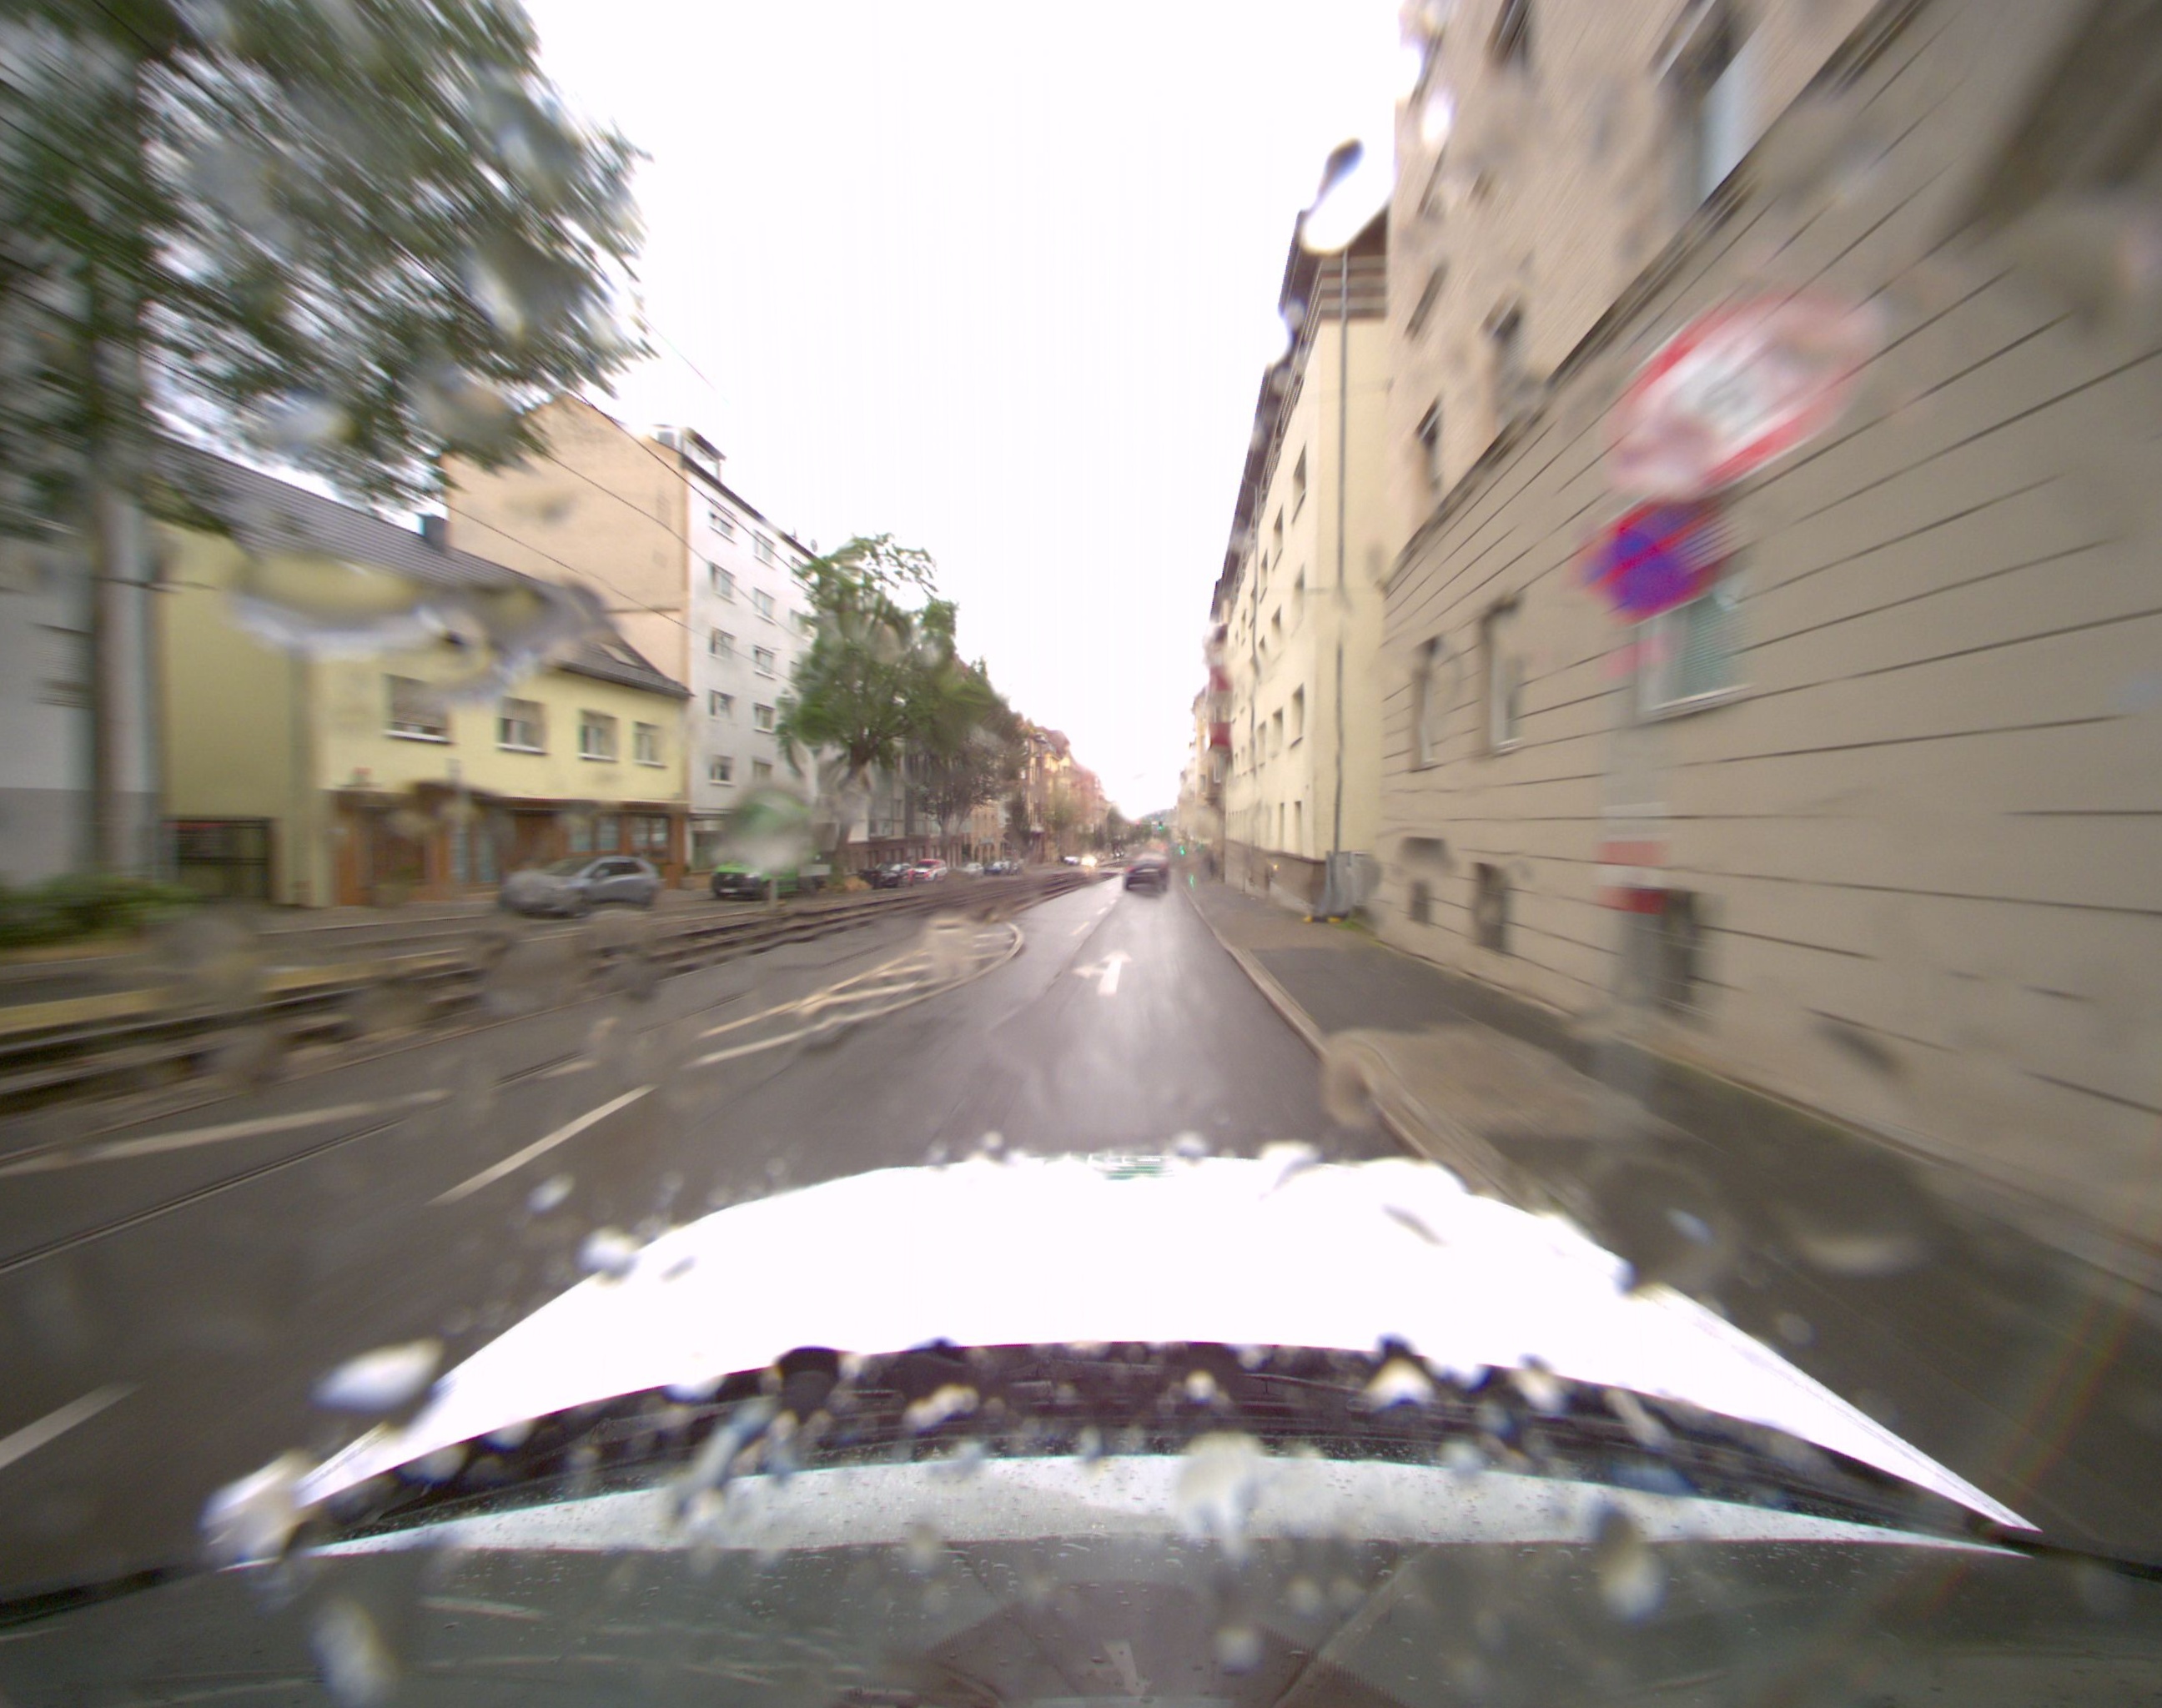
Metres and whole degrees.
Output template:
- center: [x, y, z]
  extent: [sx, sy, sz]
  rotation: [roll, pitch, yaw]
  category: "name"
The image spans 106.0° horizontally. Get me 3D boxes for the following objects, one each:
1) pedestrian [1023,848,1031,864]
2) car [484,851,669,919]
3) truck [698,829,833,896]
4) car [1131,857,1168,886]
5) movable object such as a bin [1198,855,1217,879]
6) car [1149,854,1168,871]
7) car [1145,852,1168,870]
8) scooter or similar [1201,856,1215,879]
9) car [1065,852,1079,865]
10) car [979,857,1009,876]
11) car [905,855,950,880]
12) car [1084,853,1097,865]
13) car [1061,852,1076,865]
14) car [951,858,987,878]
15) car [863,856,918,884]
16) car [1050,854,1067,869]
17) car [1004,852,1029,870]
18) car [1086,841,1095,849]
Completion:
- center: [-6.737, 0.228, 101.764]
  extent: [0.868, 2.014, 0.705]
  rotation: [-2, -2, 4]
  category: "pedestrian"
- center: [-13.393, 0.756, 22.002]
  extent: [1.717, 1.515, 4.504]
  rotation: [5, 1, 7]
  category: "car"
- center: [-12.188, 0.347, 32.118]
  extent: [2.039, 2.393, 6.336]
  rotation: [0, -1, 9]
  category: "truck"
- center: [3.619, 0.881, 43.228]
  extent: [1.843, 1.473, 4.004]
  rotation: [0, 0, 4]
  category: "car"
- center: [9.321, 0.950, 60.097]
  extent: [1.163, 1.655, 1.310]
  rotation: [-1, 0, 1]
  category: "movable object such as a bin"
- center: [8.308, 0.947, 87.777]
  extent: [1.940, 1.793, 4.148]
  rotation: [0, -1, 4]
  category: "car"
- center: [6.312, 0.624, 68.201]
  extent: [1.844, 1.473, 4.004]
  rotation: [0, -1, 4]
  category: "car"
- center: [9.119, 0.950, 58.598]
  extent: [0.915, 1.604, 0.863]
  rotation: [0, 0, 1]
  category: "scooter or similar"
- center: [-1.489, 0.822, 134.271]
  extent: [1.985, 2.014, 4.351]
  rotation: [-2, -1, 4]
  category: "car"
- center: [-7.777, 1.124, 73.235]
  extent: [1.764, 1.619, 4.262]
  rotation: [-2, -1, 6]
  category: "car"
- center: [-9.975, 0.871, 53.198]
  extent: [1.765, 1.546, 4.261]
  rotation: [-2, -1, 5]
  category: "car"
- center: [1.586, 0.812, 134.381]
  extent: [1.984, 2.013, 4.351]
  rotation: [0, 0, 4]
  category: "car"
- center: [-1.962, 0.721, 129.242]
  extent: [1.985, 2.014, 4.351]
  rotation: [-2, -1, 4]
  category: "car"
- center: [-8.828, 1.077, 64.593]
  extent: [1.764, 1.488, 4.262]
  rotation: [-2, -1, 6]
  category: "car"
- center: [-10.690, 0.918, 45.974]
  extent: [1.765, 1.453, 4.261]
  rotation: [-2, -1, 5]
  category: "car"
- center: [-3.275, 1.100, 119.265]
  extent: [1.985, 2.014, 4.351]
  rotation: [-2, -1, 4]
  category: "car"
- center: [-6.555, 0.684, 83.569]
  extent: [1.854, 1.816, 4.006]
  rotation: [0, 0, 6]
  category: "car"
- center: [2.465, -2.322, 212.168]
  extent: [1.985, 2.014, 4.004]
  rotation: [0, 0, 4]
  category: "car"
